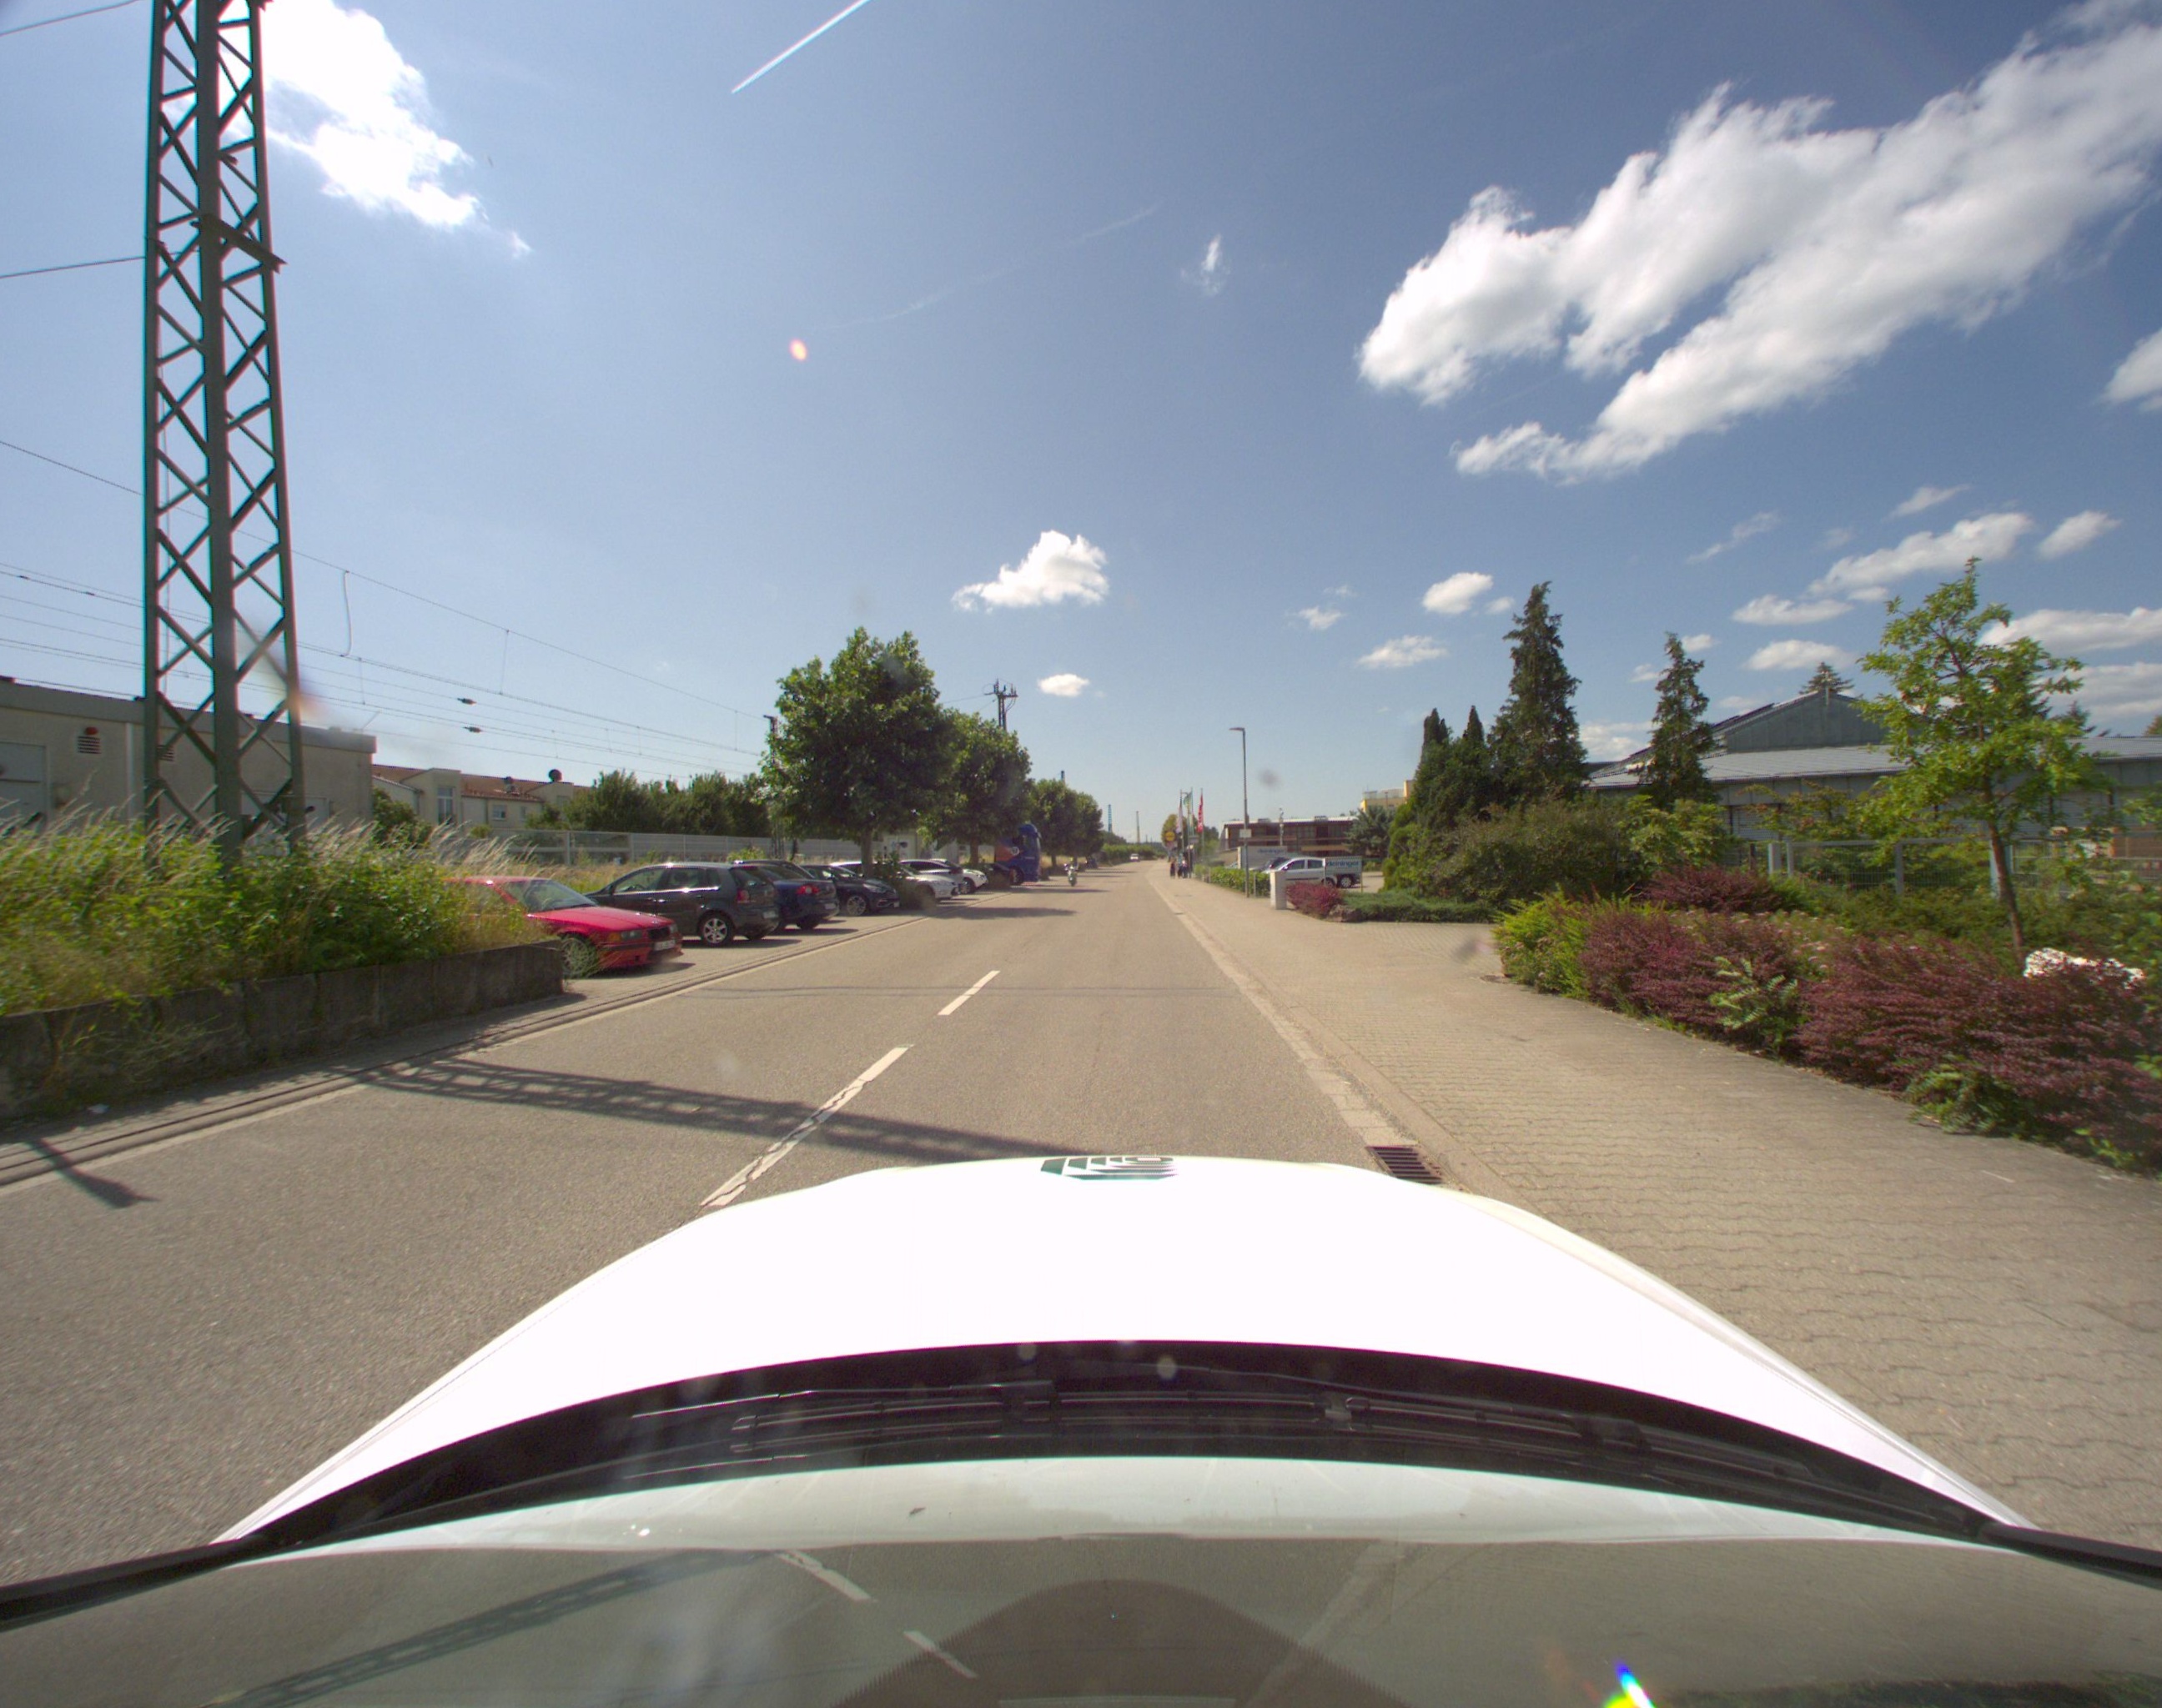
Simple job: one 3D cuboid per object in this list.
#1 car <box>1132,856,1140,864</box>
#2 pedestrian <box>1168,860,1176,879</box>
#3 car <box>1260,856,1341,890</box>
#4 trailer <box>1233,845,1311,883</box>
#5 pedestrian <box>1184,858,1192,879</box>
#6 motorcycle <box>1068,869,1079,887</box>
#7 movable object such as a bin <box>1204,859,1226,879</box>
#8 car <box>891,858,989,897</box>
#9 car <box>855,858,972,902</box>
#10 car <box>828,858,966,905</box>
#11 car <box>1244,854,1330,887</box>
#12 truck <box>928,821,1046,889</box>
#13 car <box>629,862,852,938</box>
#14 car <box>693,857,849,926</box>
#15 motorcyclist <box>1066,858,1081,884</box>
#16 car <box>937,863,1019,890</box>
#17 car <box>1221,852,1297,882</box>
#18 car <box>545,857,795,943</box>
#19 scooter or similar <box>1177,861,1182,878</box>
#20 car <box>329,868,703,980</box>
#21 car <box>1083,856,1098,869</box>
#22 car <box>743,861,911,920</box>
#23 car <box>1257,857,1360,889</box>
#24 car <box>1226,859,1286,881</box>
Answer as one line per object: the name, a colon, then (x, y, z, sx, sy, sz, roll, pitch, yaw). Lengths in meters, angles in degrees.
car: (12.763, 1.309, 190.037, 1.830, 1.858, 4.489, -1, 0, 4)
pedestrian: (6.848, 1.155, 61.416, 0.563, 1.405, 0.584, -2, -3, 3)
car: (9.901, 0.829, 36.926, 3.335, 1.401, 1.773, -2, -1, 6)
trailer: (10.651, 0.552, 45.599, 3.970, 2.014, 2.002, -2, -1, 3)
pedestrian: (8.031, 1.066, 61.187, 0.532, 1.540, 0.511, -2, -3, 3)
motorcycle: (-0.421, 1.378, 47.243, 0.461, 1.051, 1.957, -1, -1, 4)
movable object such as a bin: (10.046, 1.086, 60.928, 1.272, 1.458, 1.038, 0, -1, -34)
car: (-6.234, 1.012, 36.308, 3.957, 1.618, 1.851, -1, 0, 0)
car: (-6.330, 0.968, 31.153, 3.972, 1.548, 2.001, -1, -1, 1)
car: (-6.363, 0.935, 28.477, 4.319, 1.533, 1.928, -1, 0, 3)
car: (10.769, 0.887, 42.810, 4.023, 1.575, 1.712, -2, -3, -2)
truck: (-5.570, 0.053, 49.089, 6.589, 3.823, 2.665, -2, -1, 1)
car: (-7.107, 0.947, 17.197, 3.923, 1.450, 1.791, -1, -1, 8)
car: (-7.531, 0.894, 19.968, 3.176, 1.538, 1.603, -1, -1, 1)
motorcyclist: (-0.416, 0.977, 47.396, 0.772, 1.509, 0.922, -1, -1, 4)
car: (-5.586, 1.221, 44.621, 4.193, 1.395, 1.873, -1, -1, 1)
car: (10.633, 0.791, 48.908, 4.196, 1.634, 1.801, -2, -3, 2)
car: (-7.338, 0.792, 14.774, 3.652, 1.448, 1.685, 0, 0, 2)
scooter or similar: (7.408, 1.173, 61.378, 0.332, 1.198, 0.398, -2, -3, 4)
car: (-7.665, 0.923, 11.286, 4.055, 1.368, 1.676, -1, 1, 4)
car: (1.246, 1.079, 107.542, 1.734, 1.596, 3.583, -1, 0, 4)
car: (-7.025, 0.984, 22.752, 4.055, 1.472, 1.789, -2, -1, 4)
car: (10.940, 0.910, 39.362, 4.459, 1.440, 1.815, -1, -1, 0)
car: (11.874, 1.068, 55.475, 3.828, 1.455, 1.819, -1, 0, 4)
